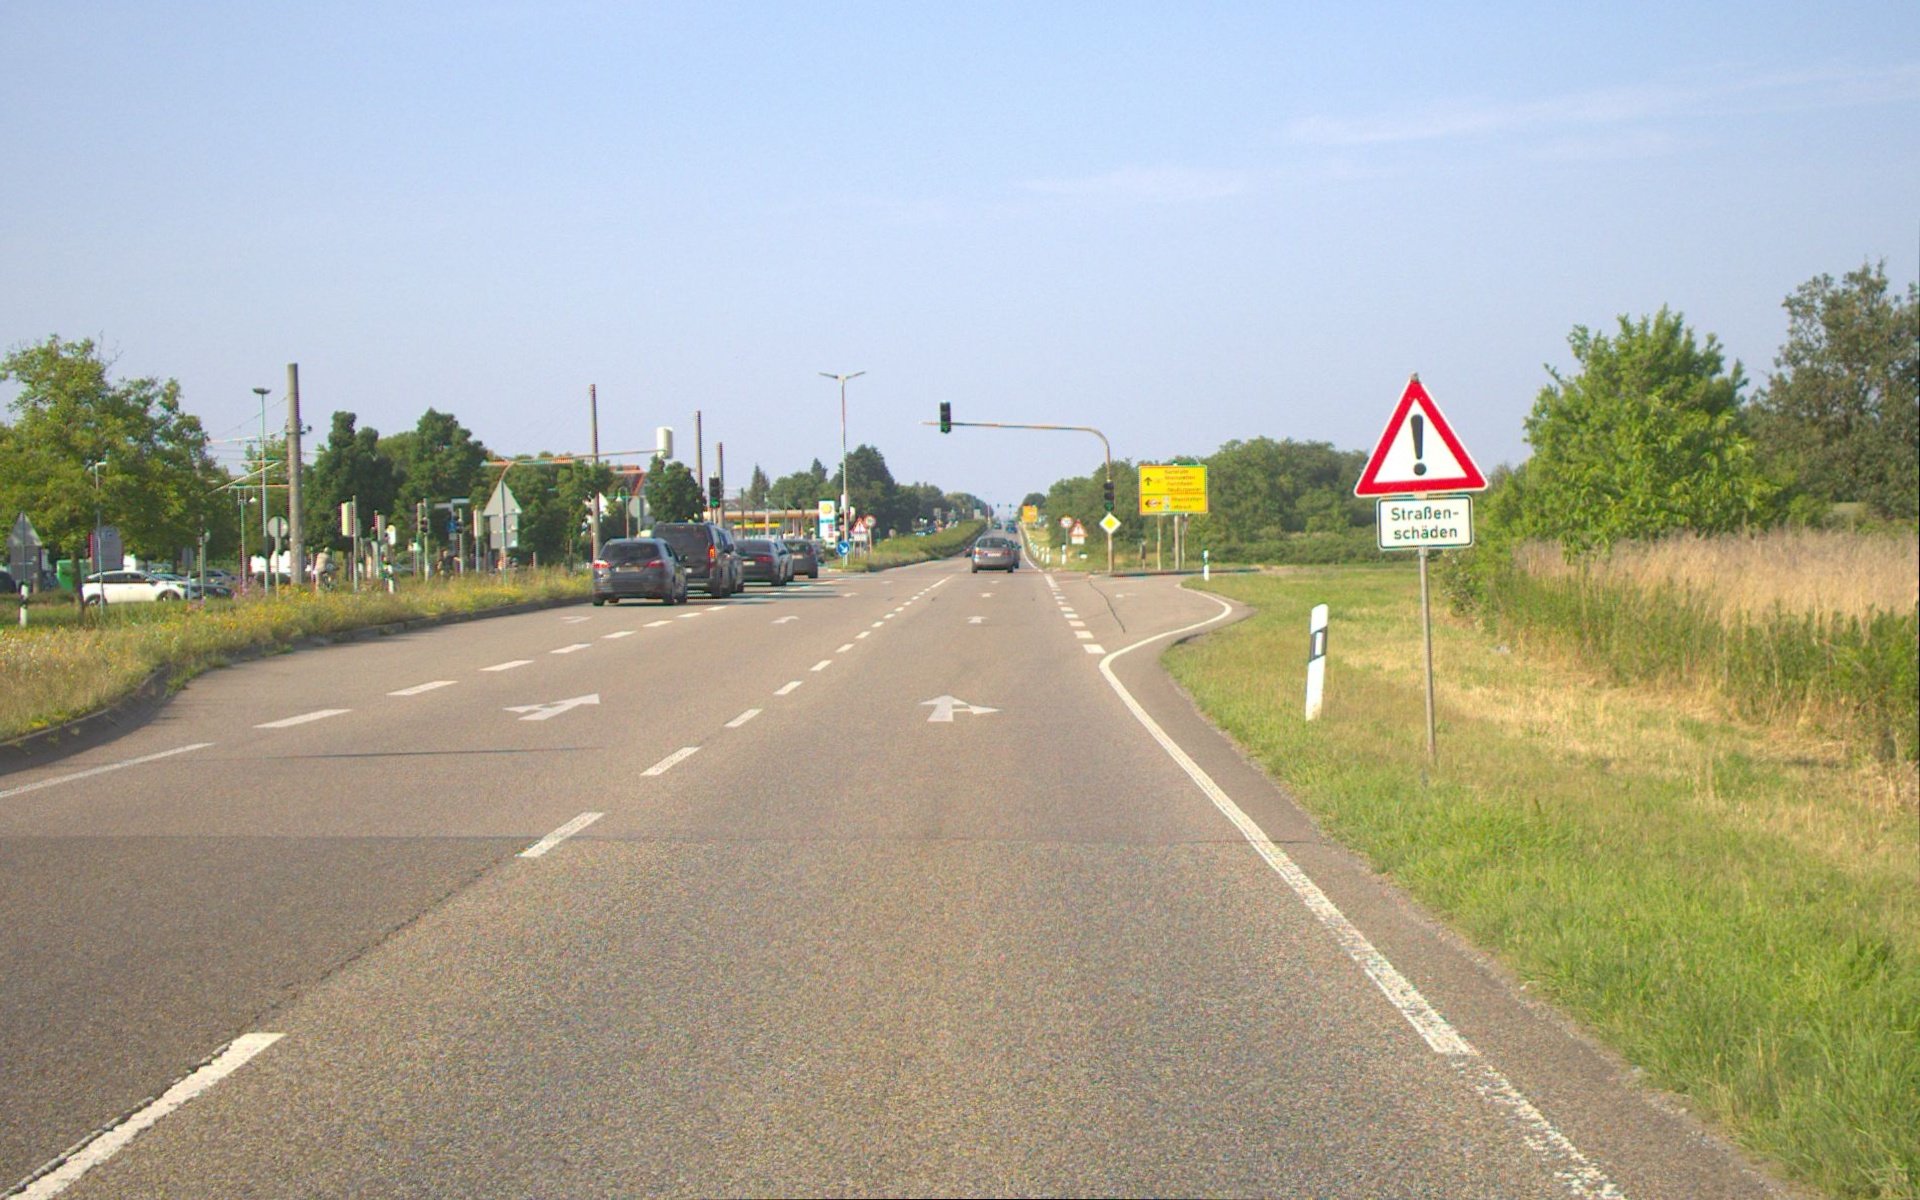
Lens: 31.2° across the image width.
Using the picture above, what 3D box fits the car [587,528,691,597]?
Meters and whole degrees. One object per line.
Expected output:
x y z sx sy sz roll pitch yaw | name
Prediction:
-7.053 -0.843 75.950 1.732 1.451 4.520 -1 1 2 | car

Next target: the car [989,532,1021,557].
3.016 -3.737 230.862 1.994 1.590 4.000 -1 1 3 | car

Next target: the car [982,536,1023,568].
2.191 -2.439 174.881 1.993 1.546 4.000 -1 1 2 | car

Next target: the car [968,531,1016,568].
1.407 -2.199 148.628 1.993 1.546 4.000 -1 1 2 | car

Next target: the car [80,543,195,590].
-30.318 -1.239 126.749 3.986 1.656 1.888 1 0 -10 | car

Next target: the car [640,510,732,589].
-6.623 -1.239 83.471 1.732 1.849 4.520 -1 1 2 | car

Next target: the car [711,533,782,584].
-6.389 -1.271 103.283 1.770 1.466 4.015 -1 1 2 | car

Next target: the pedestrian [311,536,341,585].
-22.302 -1.380 121.007 0.915 1.700 1.067 1 0 -4 | pedestrian
